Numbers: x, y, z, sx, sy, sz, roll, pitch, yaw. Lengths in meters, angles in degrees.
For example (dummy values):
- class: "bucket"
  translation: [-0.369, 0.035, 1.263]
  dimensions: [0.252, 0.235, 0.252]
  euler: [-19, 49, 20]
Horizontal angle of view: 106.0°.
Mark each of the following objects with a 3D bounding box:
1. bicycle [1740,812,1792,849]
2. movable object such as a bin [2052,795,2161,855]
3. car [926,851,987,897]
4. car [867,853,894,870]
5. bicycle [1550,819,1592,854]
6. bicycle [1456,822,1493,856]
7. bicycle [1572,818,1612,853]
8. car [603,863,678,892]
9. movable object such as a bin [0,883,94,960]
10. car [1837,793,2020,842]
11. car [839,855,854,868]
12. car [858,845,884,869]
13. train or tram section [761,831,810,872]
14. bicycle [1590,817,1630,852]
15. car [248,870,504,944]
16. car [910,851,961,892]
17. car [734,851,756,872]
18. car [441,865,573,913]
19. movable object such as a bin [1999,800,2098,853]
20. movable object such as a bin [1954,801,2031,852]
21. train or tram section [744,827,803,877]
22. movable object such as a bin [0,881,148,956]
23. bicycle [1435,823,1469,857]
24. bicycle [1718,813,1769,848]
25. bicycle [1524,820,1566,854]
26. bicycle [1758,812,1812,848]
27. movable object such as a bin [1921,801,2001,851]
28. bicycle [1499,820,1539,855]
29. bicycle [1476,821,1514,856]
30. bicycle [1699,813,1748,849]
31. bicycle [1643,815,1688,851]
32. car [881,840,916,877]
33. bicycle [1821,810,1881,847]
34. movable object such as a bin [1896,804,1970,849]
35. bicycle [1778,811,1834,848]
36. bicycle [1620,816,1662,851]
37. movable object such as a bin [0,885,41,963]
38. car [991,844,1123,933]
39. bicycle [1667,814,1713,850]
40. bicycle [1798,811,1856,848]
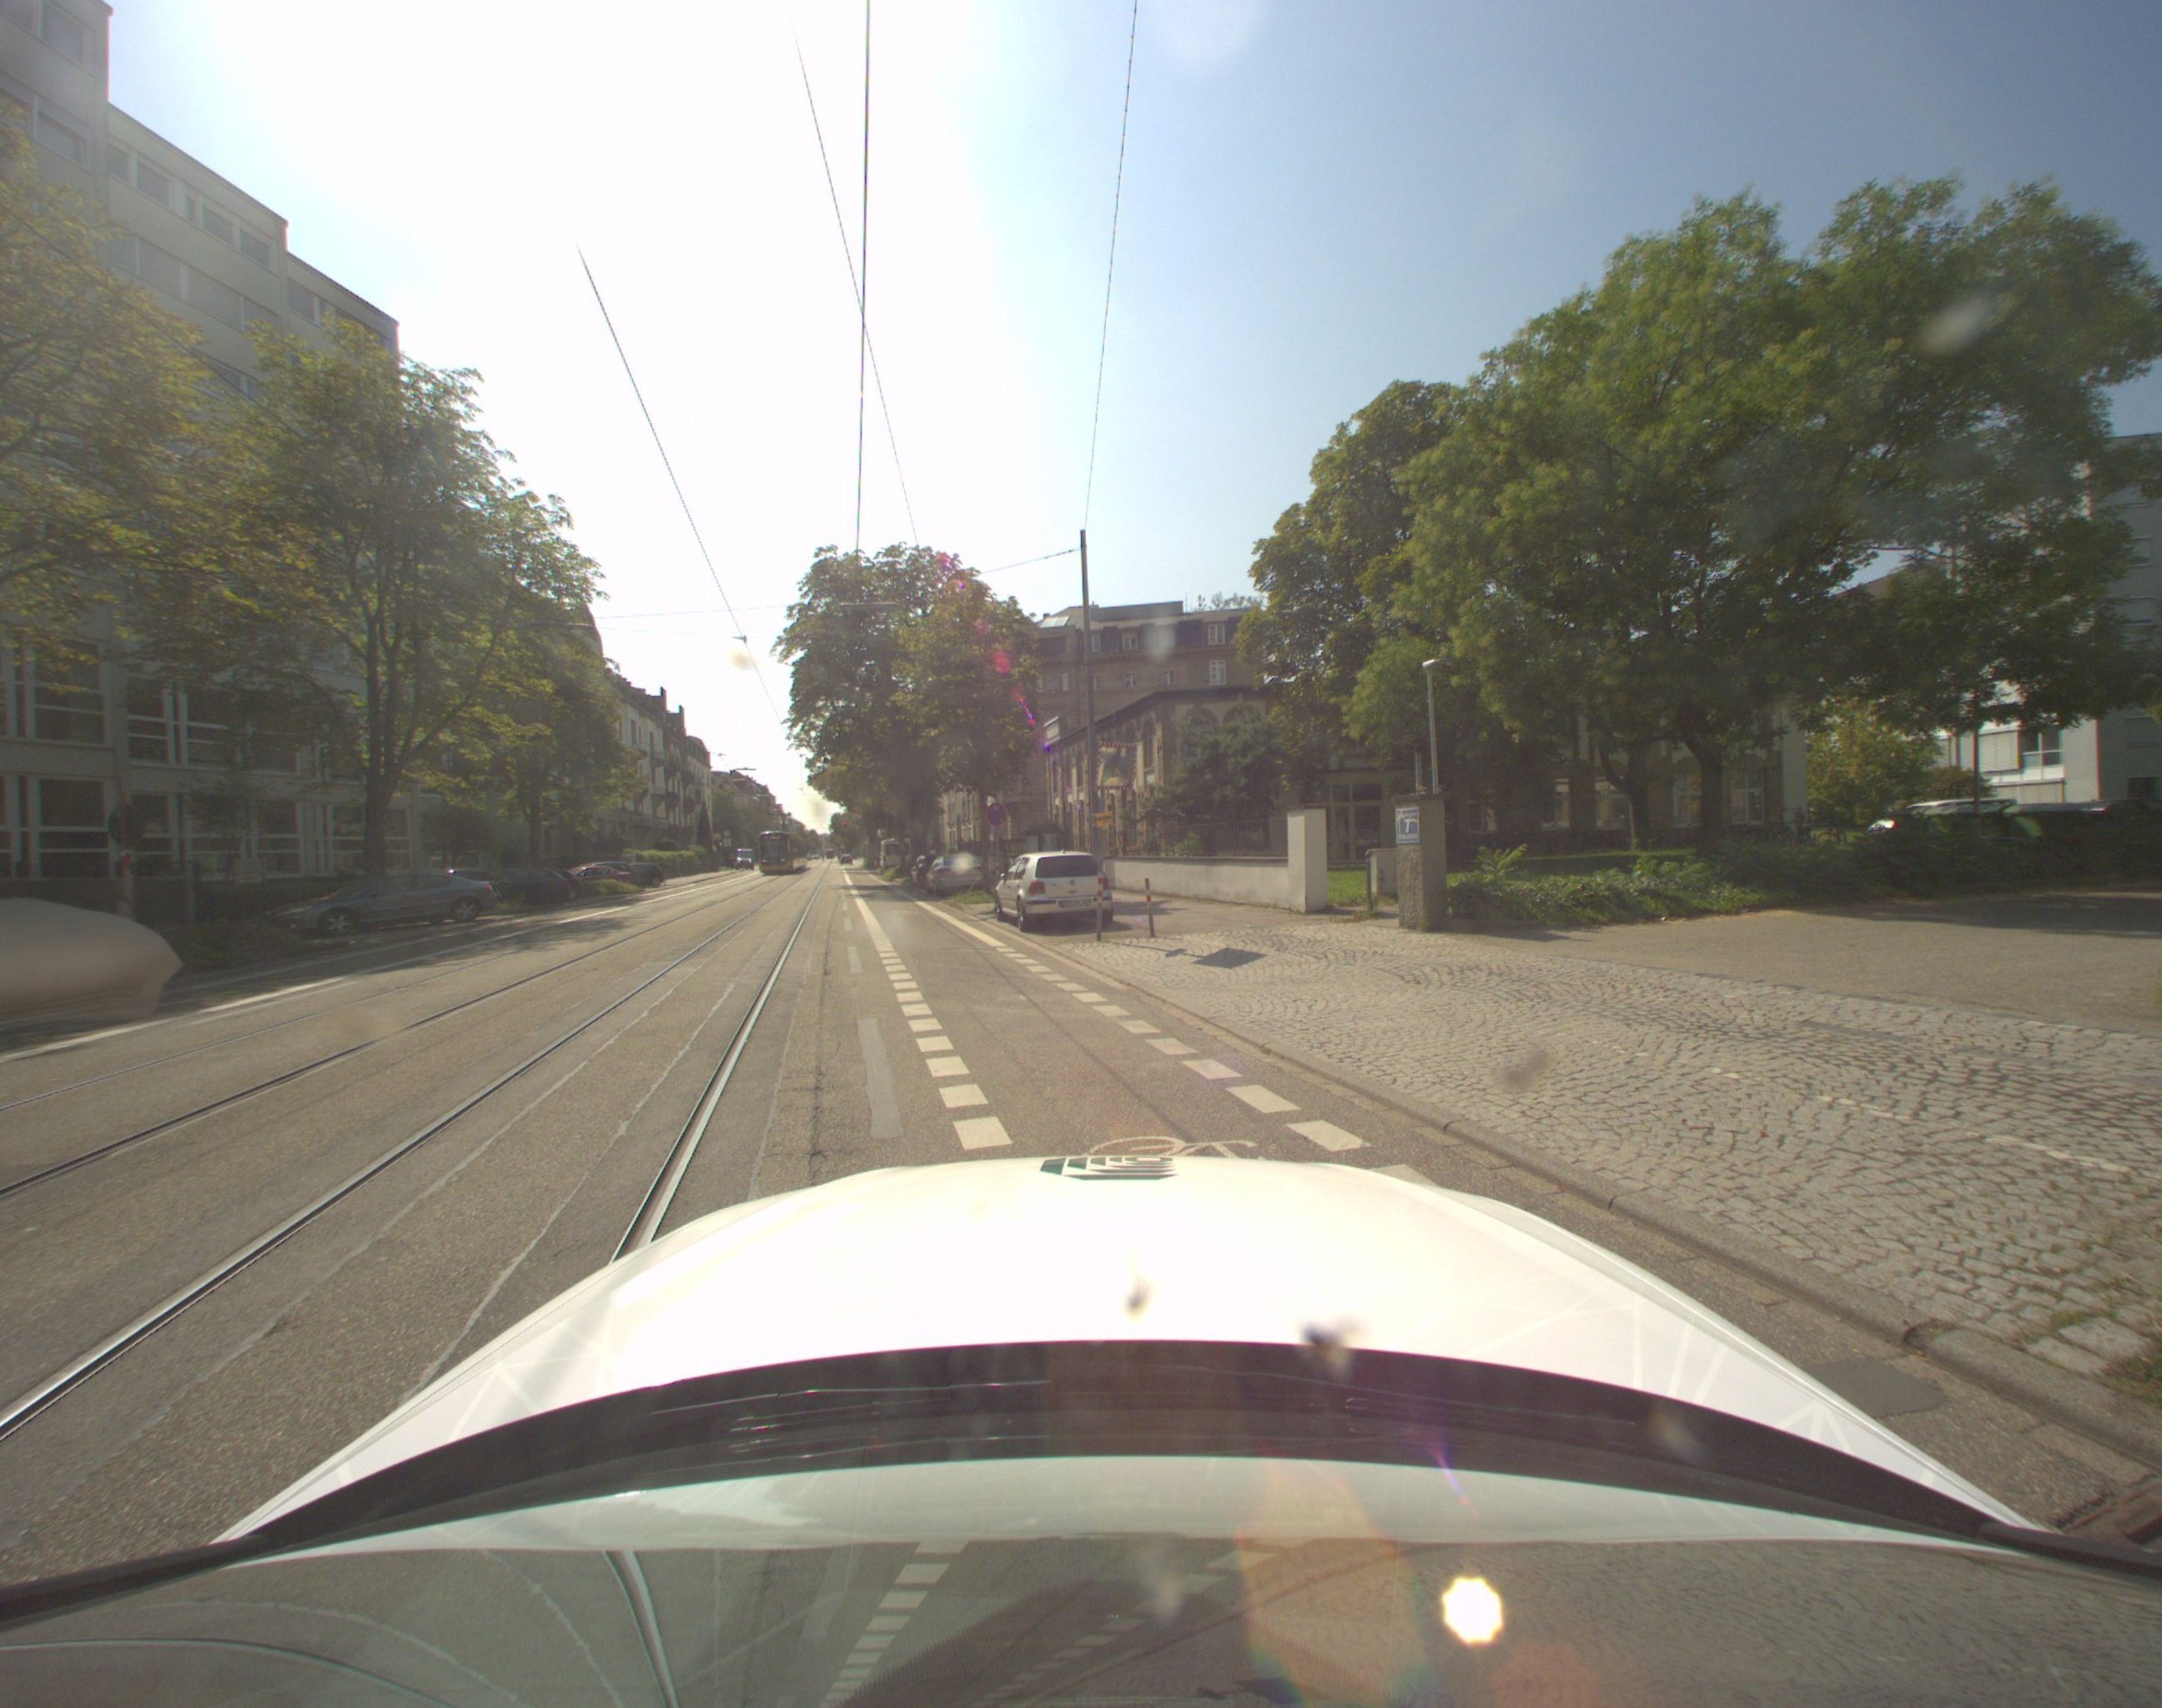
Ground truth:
- class: "bicycle"
  translation: [25.896, -0.865, 30.836]
  dimensions: [0.603, 1.302, 2.182]
  euler: [-2, 0, 14]
- class: "movable object such as a bin"
  translation: [27.226, -0.765, 21.604]
  dimensions: [1.329, 1.493, 1.371]
  euler: [-2, 1, -4]
- class: "car"
  translation: [-4.502, 0.683, 29.037]
  dimensions: [1.644, 1.511, 3.620]
  euler: [-2, 0, -16]
- class: "car"
  translation: [-18.354, 0.690, 74.450]
  dimensions: [2.000, 1.398, 3.974]
  euler: [-2, 0, -19]
- class: "bicycle"
  translation: [19.304, -0.683, 32.143]
  dimensions: [0.764, 1.302, 2.282]
  euler: [-2, 0, 14]
- class: "bicycle"
  translation: [15.591, -0.578, 32.319]
  dimensions: [0.764, 1.302, 2.536]
  euler: [-2, 0, 14]
- class: "bicycle"
  translation: [20.074, -0.714, 32.054]
  dimensions: [0.620, 1.302, 2.282]
  euler: [-2, 0, 14]
- class: "car"
  translation: [-26.653, 1.398, 49.336]
  dimensions: [1.655, 1.574, 3.610]
  euler: [-2, 0, 32]
- class: "movable object such as a bin"
  translation: [-23.196, 1.467, 17.710]
  dimensions: [1.687, 1.559, 1.346]
  euler: [-3, 0, -18]
- class: "car"
  translation: [37.172, -1.548, 35.909]
  dimensions: [5.033, 1.881, 2.511]
  euler: [-2, 0, 13]
- class: "car"
  translation: [-34.081, 1.136, 118.247]
  dimensions: [1.998, 1.801, 3.978]
  euler: [-1, 0, -16]
- class: "car"
  translation: [-20.922, 0.280, 81.029]
  dimensions: [2.001, 2.233, 3.971]
  euler: [-2, 0, -21]
- class: "train or tram section"
  translation: [-29.020, -0.252, 80.528]
  dimensions: [3.504, 3.704, 12.346]
  euler: [-2, 1, -16]
- class: "bicycle"
  translation: [20.722, -0.735, 31.951]
  dimensions: [0.603, 1.302, 2.182]
  euler: [-2, 0, 14]
- class: "car"
  translation: [-18.196, 1.288, 21.327]
  dimensions: [1.655, 1.451, 4.717]
  euler: [-2, 2, 27]
- class: "car"
  translation: [-6.214, 0.697, 34.517]
  dimensions: [1.797, 1.577, 3.980]
  euler: [-2, 0, -15]
- class: "car"
  translation: [-40.647, 0.852, 98.522]
  dimensions: [2.250, 2.441, 3.973]
  euler: [-2, 0, -20]
- class: "car"
  translation: [-21.065, 1.246, 30.014]
  dimensions: [1.655, 1.574, 3.610]
  euler: [-2, 0, 32]
- class: "movable object such as a bin"
  translation: [27.504, -0.779, 23.180]
  dimensions: [1.240, 1.431, 1.334]
  euler: [-2, 1, 4]
- class: "movable object such as a bin"
  translation: [27.320, -0.820, 24.438]
  dimensions: [1.092, 1.481, 1.103]
  euler: [-2, 1, 4]
- class: "train or tram section"
  translation: [-25.694, -0.190, 68.638]
  dimensions: [3.504, 3.704, 12.346]
  euler: [-2, 1, -16]
- class: "movable object such as a bin"
  translation: [-23.593, 1.479, 19.125]
  dimensions: [1.687, 1.559, 1.346]
  euler: [-3, 0, -18]
- class: "bicycle"
  translation: [14.829, -0.551, 32.628]
  dimensions: [0.764, 1.302, 2.536]
  euler: [-2, 0, 14]
- class: "bicycle"
  translation: [25.258, -0.872, 31.081]
  dimensions: [0.603, 1.302, 2.182]
  euler: [-2, 0, 14]
- class: "bicycle"
  translation: [18.365, -0.656, 32.320]
  dimensions: [0.764, 1.302, 2.536]
  euler: [-2, 0, 14]
- class: "bicycle"
  translation: [26.583, -0.878, 30.796]
  dimensions: [0.603, 1.302, 2.182]
  euler: [-2, 0, 14]
- class: "movable object such as a bin"
  translation: [27.863, -0.883, 25.809]
  dimensions: [1.240, 1.495, 1.208]
  euler: [-2, 1, 4]
- class: "bicycle"
  translation: [17.307, -0.635, 32.233]
  dimensions: [0.764, 1.302, 2.536]
  euler: [-2, 0, 14]
- class: "bicycle"
  translation: [16.405, -0.601, 32.302]
  dimensions: [0.764, 1.302, 2.536]
  euler: [-2, 0, 14]
- class: "bicycle"
  translation: [24.486, -0.854, 31.095]
  dimensions: [0.603, 1.302, 2.182]
  euler: [-2, 0, 14]
- class: "bicycle"
  translation: [22.574, -0.784, 31.499]
  dimensions: [0.603, 1.302, 2.182]
  euler: [-2, 0, 14]
- class: "car"
  translation: [-12.461, 0.302, 55.440]
  dimensions: [1.998, 2.365, 3.978]
  euler: [-1, 0, -16]
- class: "bicycle"
  translation: [28.671, -0.916, 30.351]
  dimensions: [0.603, 1.302, 2.182]
  euler: [-2, 0, 14]
- class: "movable object such as a bin"
  translation: [28.665, -0.919, 27.423]
  dimensions: [1.240, 1.444, 1.208]
  euler: [-2, 1, 4]
- class: "bicycle"
  translation: [27.253, -0.890, 30.667]
  dimensions: [0.603, 1.302, 2.182]
  euler: [-2, 0, 14]
- class: "bicycle"
  translation: [21.869, -0.775, 31.836]
  dimensions: [0.603, 1.302, 2.182]
  euler: [-2, 0, 14]
- class: "movable object such as a bin"
  translation: [-22.586, 1.456, 16.281]
  dimensions: [1.687, 1.559, 1.346]
  euler: [-3, 0, -18]
- class: "car"
  translation: [-0.606, 0.601, 16.125]
  dimensions: [1.794, 1.445, 3.715]
  euler: [-3, 0, -14]
- class: "bicycle"
  translation: [23.424, -0.822, 31.361]
  dimensions: [0.603, 1.302, 2.182]
  euler: [-2, 0, 14]
- class: "bicycle"
  translation: [27.916, -0.893, 30.524]
  dimensions: [0.603, 1.302, 2.182]
  euler: [-2, 0, 14]
